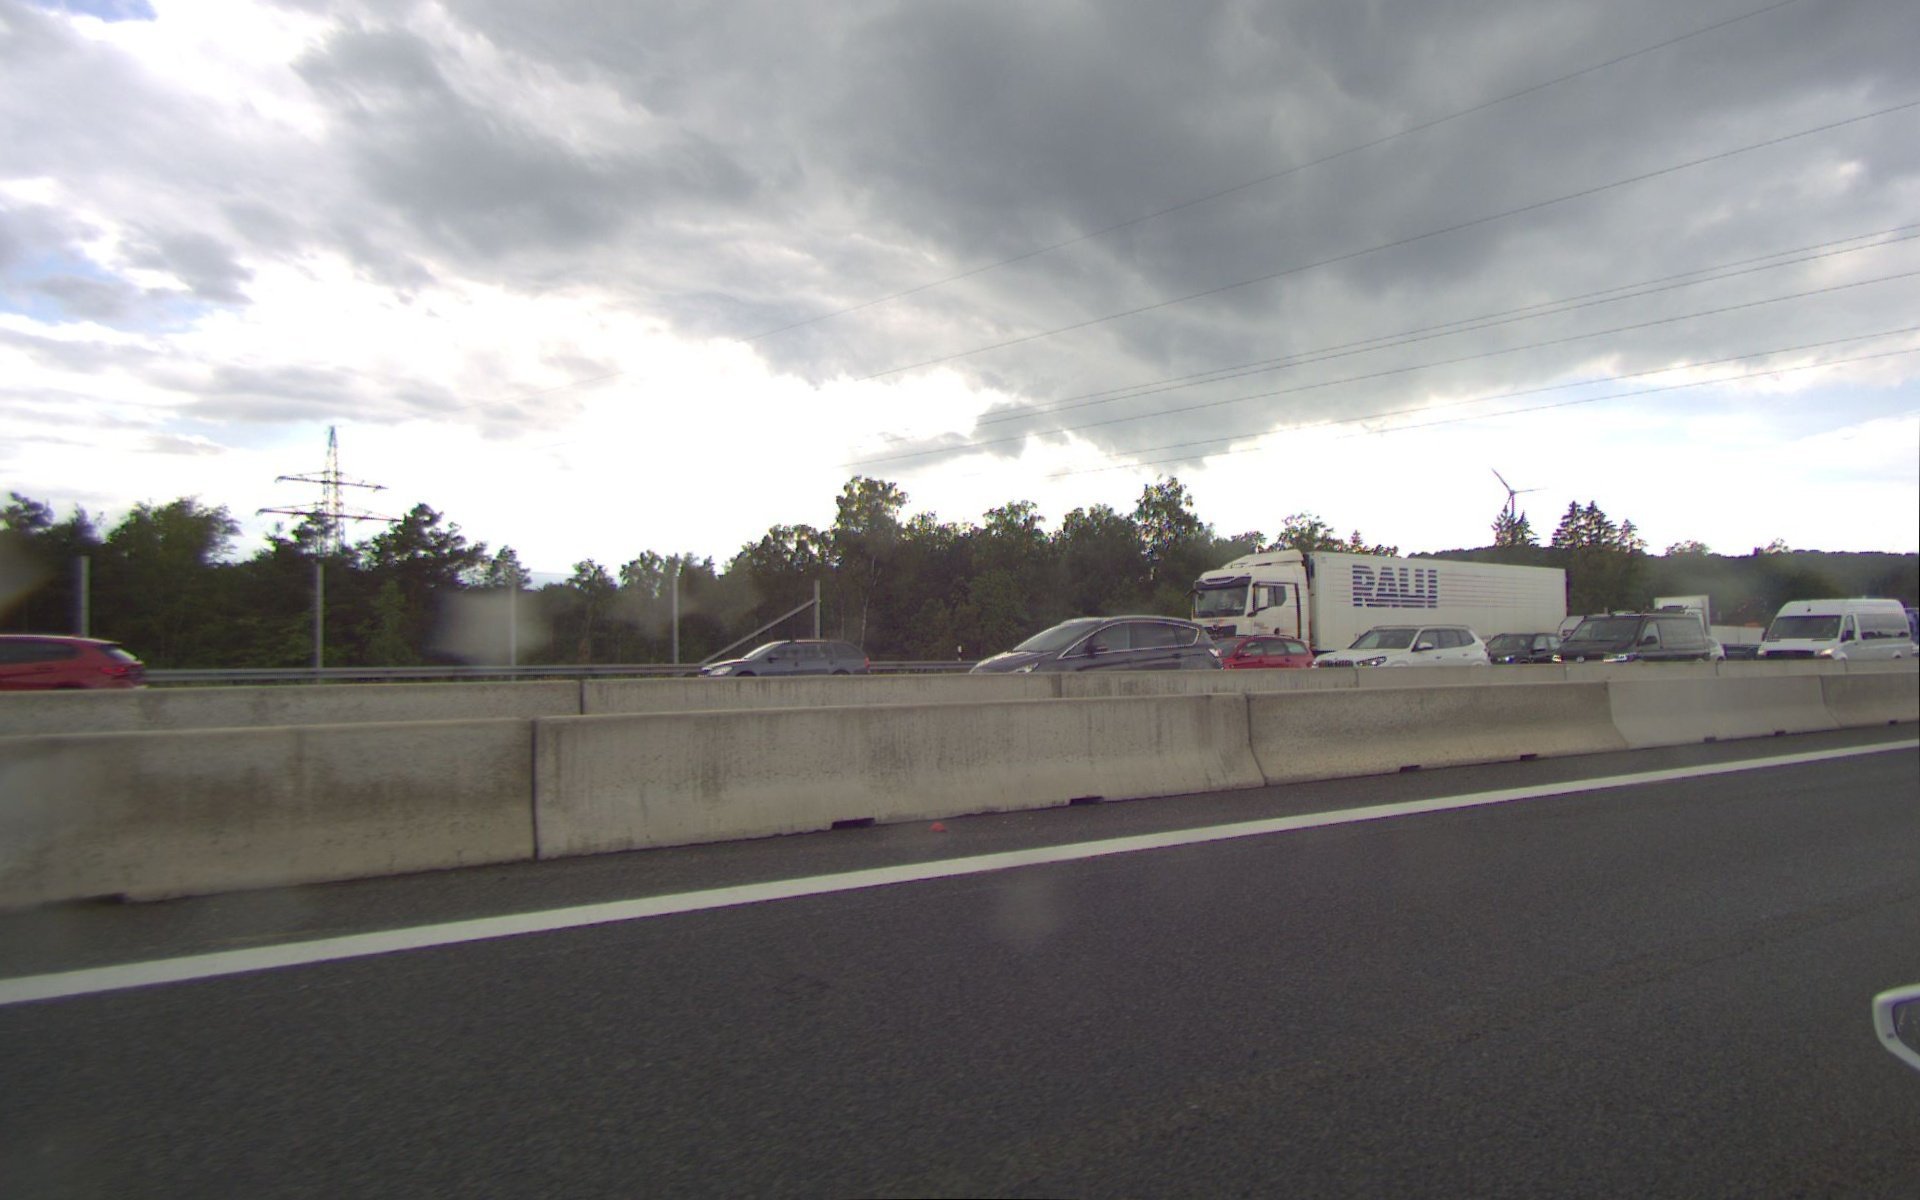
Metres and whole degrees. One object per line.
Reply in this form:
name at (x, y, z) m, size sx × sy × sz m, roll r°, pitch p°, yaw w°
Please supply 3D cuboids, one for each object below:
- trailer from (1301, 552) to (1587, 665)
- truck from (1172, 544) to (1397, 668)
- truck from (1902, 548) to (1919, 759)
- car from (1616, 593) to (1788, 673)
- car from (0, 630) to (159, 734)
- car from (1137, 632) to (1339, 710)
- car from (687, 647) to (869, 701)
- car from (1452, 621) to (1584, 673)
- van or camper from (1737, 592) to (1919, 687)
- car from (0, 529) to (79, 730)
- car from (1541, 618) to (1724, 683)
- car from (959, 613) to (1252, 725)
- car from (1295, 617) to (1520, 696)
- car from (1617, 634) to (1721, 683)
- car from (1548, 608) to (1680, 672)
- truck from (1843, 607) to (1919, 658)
trailer at (17.088, 0.337, 34.981) m, size 11.638 × 3.479 × 3.010 m, roll 1°, pitch 0°, yaw -30°
truck at (9.992, 0.204, 30.813) m, size 6.451 × 3.451 × 3.029 m, roll 1°, pitch 0°, yaw -30°
truck at (14.699, 0.662, 12.651) m, size 7.275 × 2.440 × 2.340 m, roll 1°, pitch 0°, yaw -32°
car at (40.272, 1.760, 54.353) m, size 11.520 × 3.999 × 3.187 m, roll 1°, pitch 0°, yaw -30°
car at (-15.099, 1.233, 15.432) m, size 4.092 × 1.476 × 1.861 m, roll 1°, pitch 0°, yaw -30°
car at (6.863, 1.656, 24.672) m, size 4.941 × 1.699 × 1.885 m, roll 1°, pitch 0°, yaw -30°
car at (-4.647, 1.857, 25.835) m, size 4.310 × 1.224 × 1.638 m, roll 1°, pitch -1°, yaw -30°
car at (16.993, 1.391, 30.568) m, size 3.953 × 1.429 × 1.743 m, roll 1°, pitch 0°, yaw -30°
van or camper at (27.659, 1.218, 31.838) m, size 7.432 × 2.741 × 2.168 m, roll 1°, pitch 0°, yaw -30°
car at (-10.861, 0.225, 8.611) m, size 4.651 × 1.783 × 1.861 m, roll 1°, pitch 0°, yaw -30°
car at (17.357, 1.244, 25.850) m, size 5.110 × 1.497 × 1.871 m, roll 1°, pitch 0°, yaw -30°
car at (2.514, 1.071, 17.001) m, size 4.788 × 1.645 × 1.885 m, roll 1°, pitch 0°, yaw -30°
car at (9.644, 1.146, 21.523) m, size 5.021 × 1.497 × 1.841 m, roll 1°, pitch 0°, yaw -30°
car at (30.228, 2.454, 42.831) m, size 4.390 × 1.941 × 1.984 m, roll 1°, pitch -1°, yaw -30°
car at (22.073, 1.310, 33.895) m, size 3.953 × 2.027 × 2.198 m, roll 1°, pitch 0°, yaw -30°
truck at (70.202, 2.440, 75.771) m, size 7.575 × 3.629 × 3.123 m, roll 1°, pitch 0°, yaw -30°
